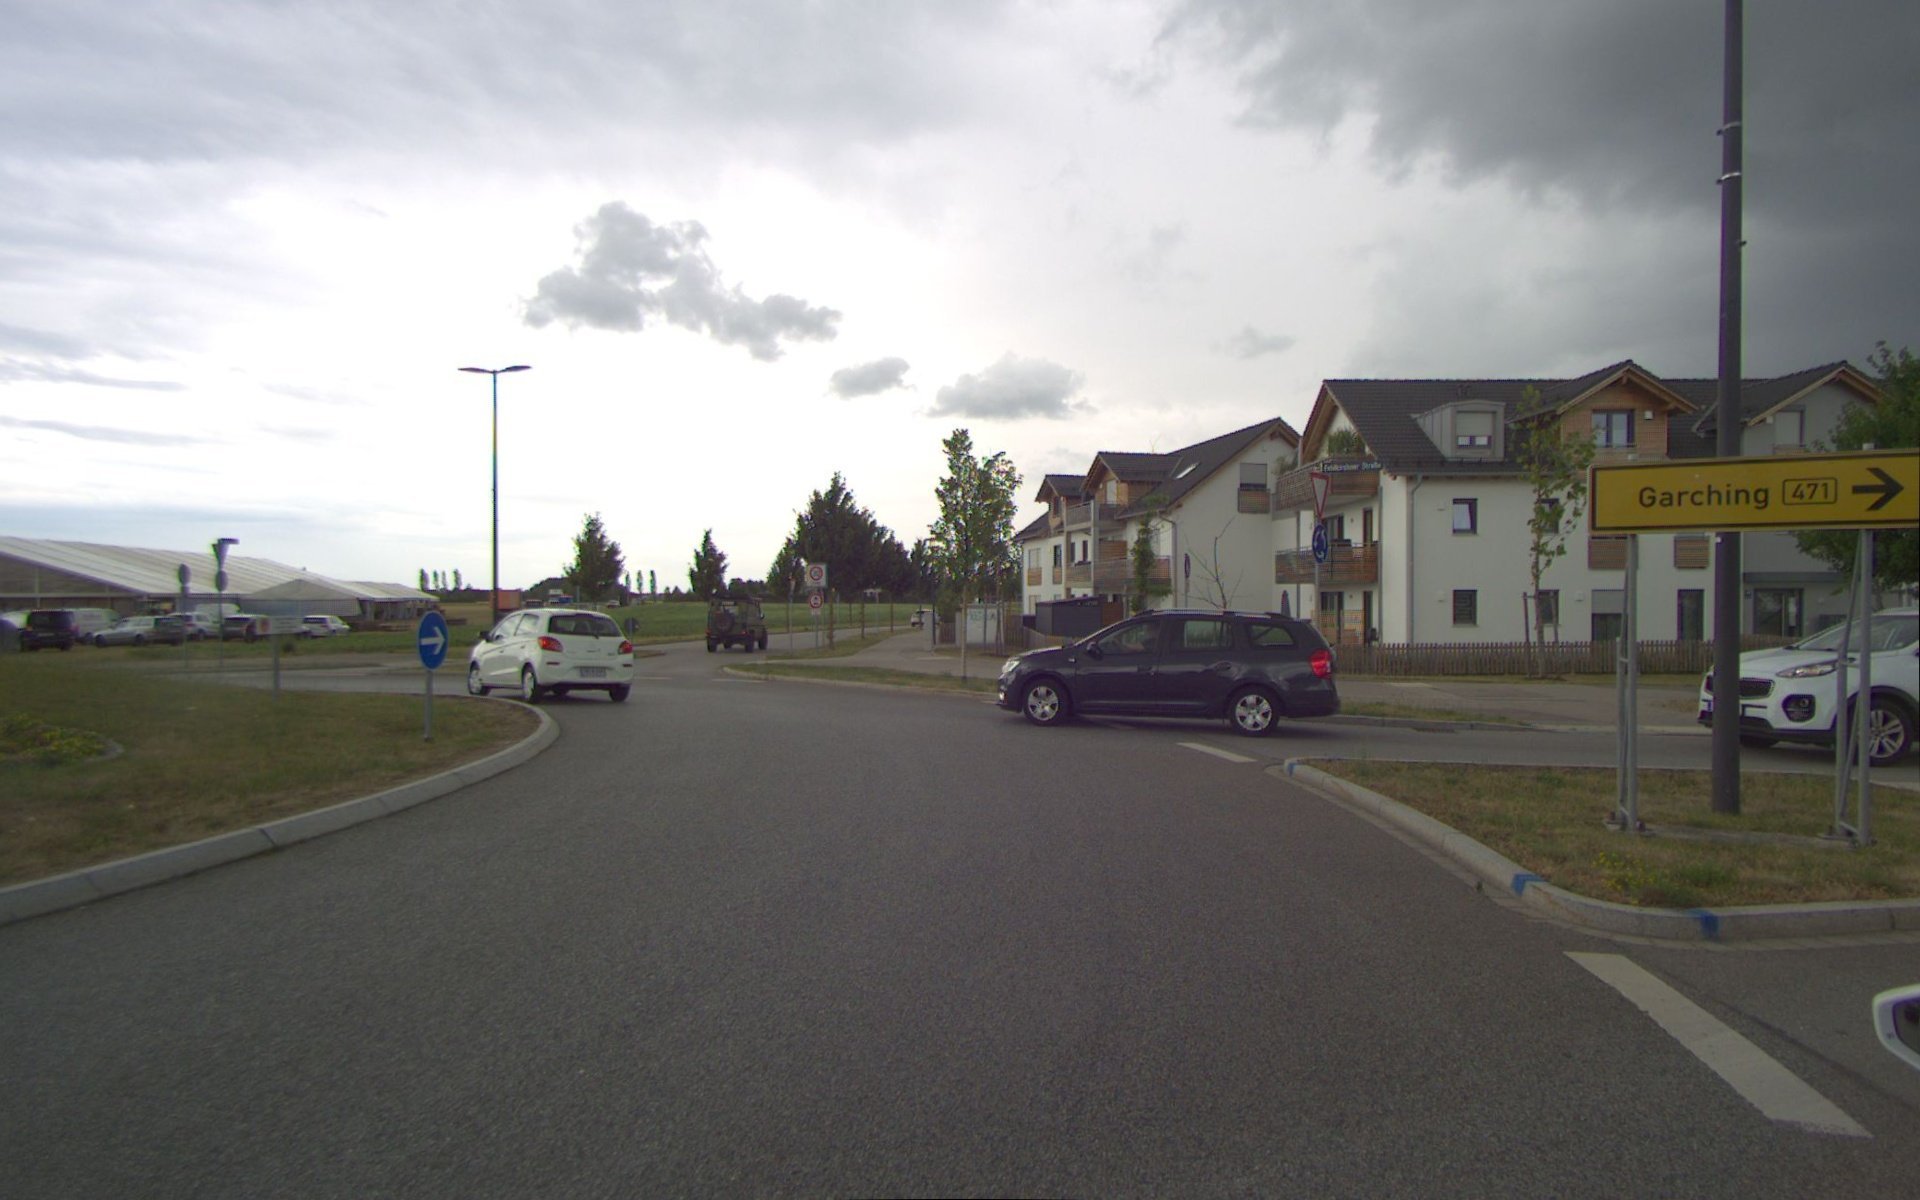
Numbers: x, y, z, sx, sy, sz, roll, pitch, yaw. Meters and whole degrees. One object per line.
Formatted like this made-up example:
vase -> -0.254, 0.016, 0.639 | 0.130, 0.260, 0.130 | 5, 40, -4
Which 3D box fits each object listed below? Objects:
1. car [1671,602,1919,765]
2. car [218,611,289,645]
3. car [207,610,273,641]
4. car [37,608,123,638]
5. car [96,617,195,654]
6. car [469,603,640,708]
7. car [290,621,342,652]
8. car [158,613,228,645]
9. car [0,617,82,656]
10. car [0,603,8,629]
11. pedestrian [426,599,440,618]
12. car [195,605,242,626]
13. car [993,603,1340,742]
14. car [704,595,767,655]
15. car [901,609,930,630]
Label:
car -> 10.631, 0.875, 11.038 | 4.361, 1.647, 1.715 | 0, -1, 2
car -> -35.652, 1.391, 50.693 | 3.810, 1.628, 1.631 | 0, 0, 33
car -> -39.828, 1.372, 55.667 | 1.805, 1.628, 3.816 | 0, 0, -17
car -> -45.850, 1.182, 52.446 | 1.920, 1.461, 3.985 | 0, 0, -17
car -> -38.182, 1.636, 47.115 | 3.798, 1.628, 1.735 | 0, 0, 16
car -> -6.812, 0.850, 16.736 | 1.620, 1.539, 3.358 | 2, -1, -41
car -> -36.559, 2.047, 57.110 | 1.706, 1.574, 3.980 | 0, 0, -21
car -> -42.132, 1.550, 55.268 | 1.805, 1.628, 3.816 | 0, 0, -17
car -> -37.932, 1.450, 41.264 | 3.934, 1.461, 1.945 | 0, 0, 35
car -> -53.272, 0.875, 53.393 | 1.916, 1.461, 3.993 | 0, 0, -10
pedestrian -> -56.859, 0.942, 108.340 | 1.033, 2.041, 1.058 | 0, 1, -13
car -> -60.269, 1.215, 81.680 | 1.805, 1.628, 3.816 | 0, 0, -16
car -> 2.694, 0.862, 13.190 | 4.194, 1.584, 1.774 | 0, -1, 18
car -> -9.005, 0.956, 40.630 | 1.962, 2.284, 4.566 | 0, 0, -6
car -> -3.654, 1.589, 83.387 | 1.821, 1.662, 4.002 | 1, 0, 6
